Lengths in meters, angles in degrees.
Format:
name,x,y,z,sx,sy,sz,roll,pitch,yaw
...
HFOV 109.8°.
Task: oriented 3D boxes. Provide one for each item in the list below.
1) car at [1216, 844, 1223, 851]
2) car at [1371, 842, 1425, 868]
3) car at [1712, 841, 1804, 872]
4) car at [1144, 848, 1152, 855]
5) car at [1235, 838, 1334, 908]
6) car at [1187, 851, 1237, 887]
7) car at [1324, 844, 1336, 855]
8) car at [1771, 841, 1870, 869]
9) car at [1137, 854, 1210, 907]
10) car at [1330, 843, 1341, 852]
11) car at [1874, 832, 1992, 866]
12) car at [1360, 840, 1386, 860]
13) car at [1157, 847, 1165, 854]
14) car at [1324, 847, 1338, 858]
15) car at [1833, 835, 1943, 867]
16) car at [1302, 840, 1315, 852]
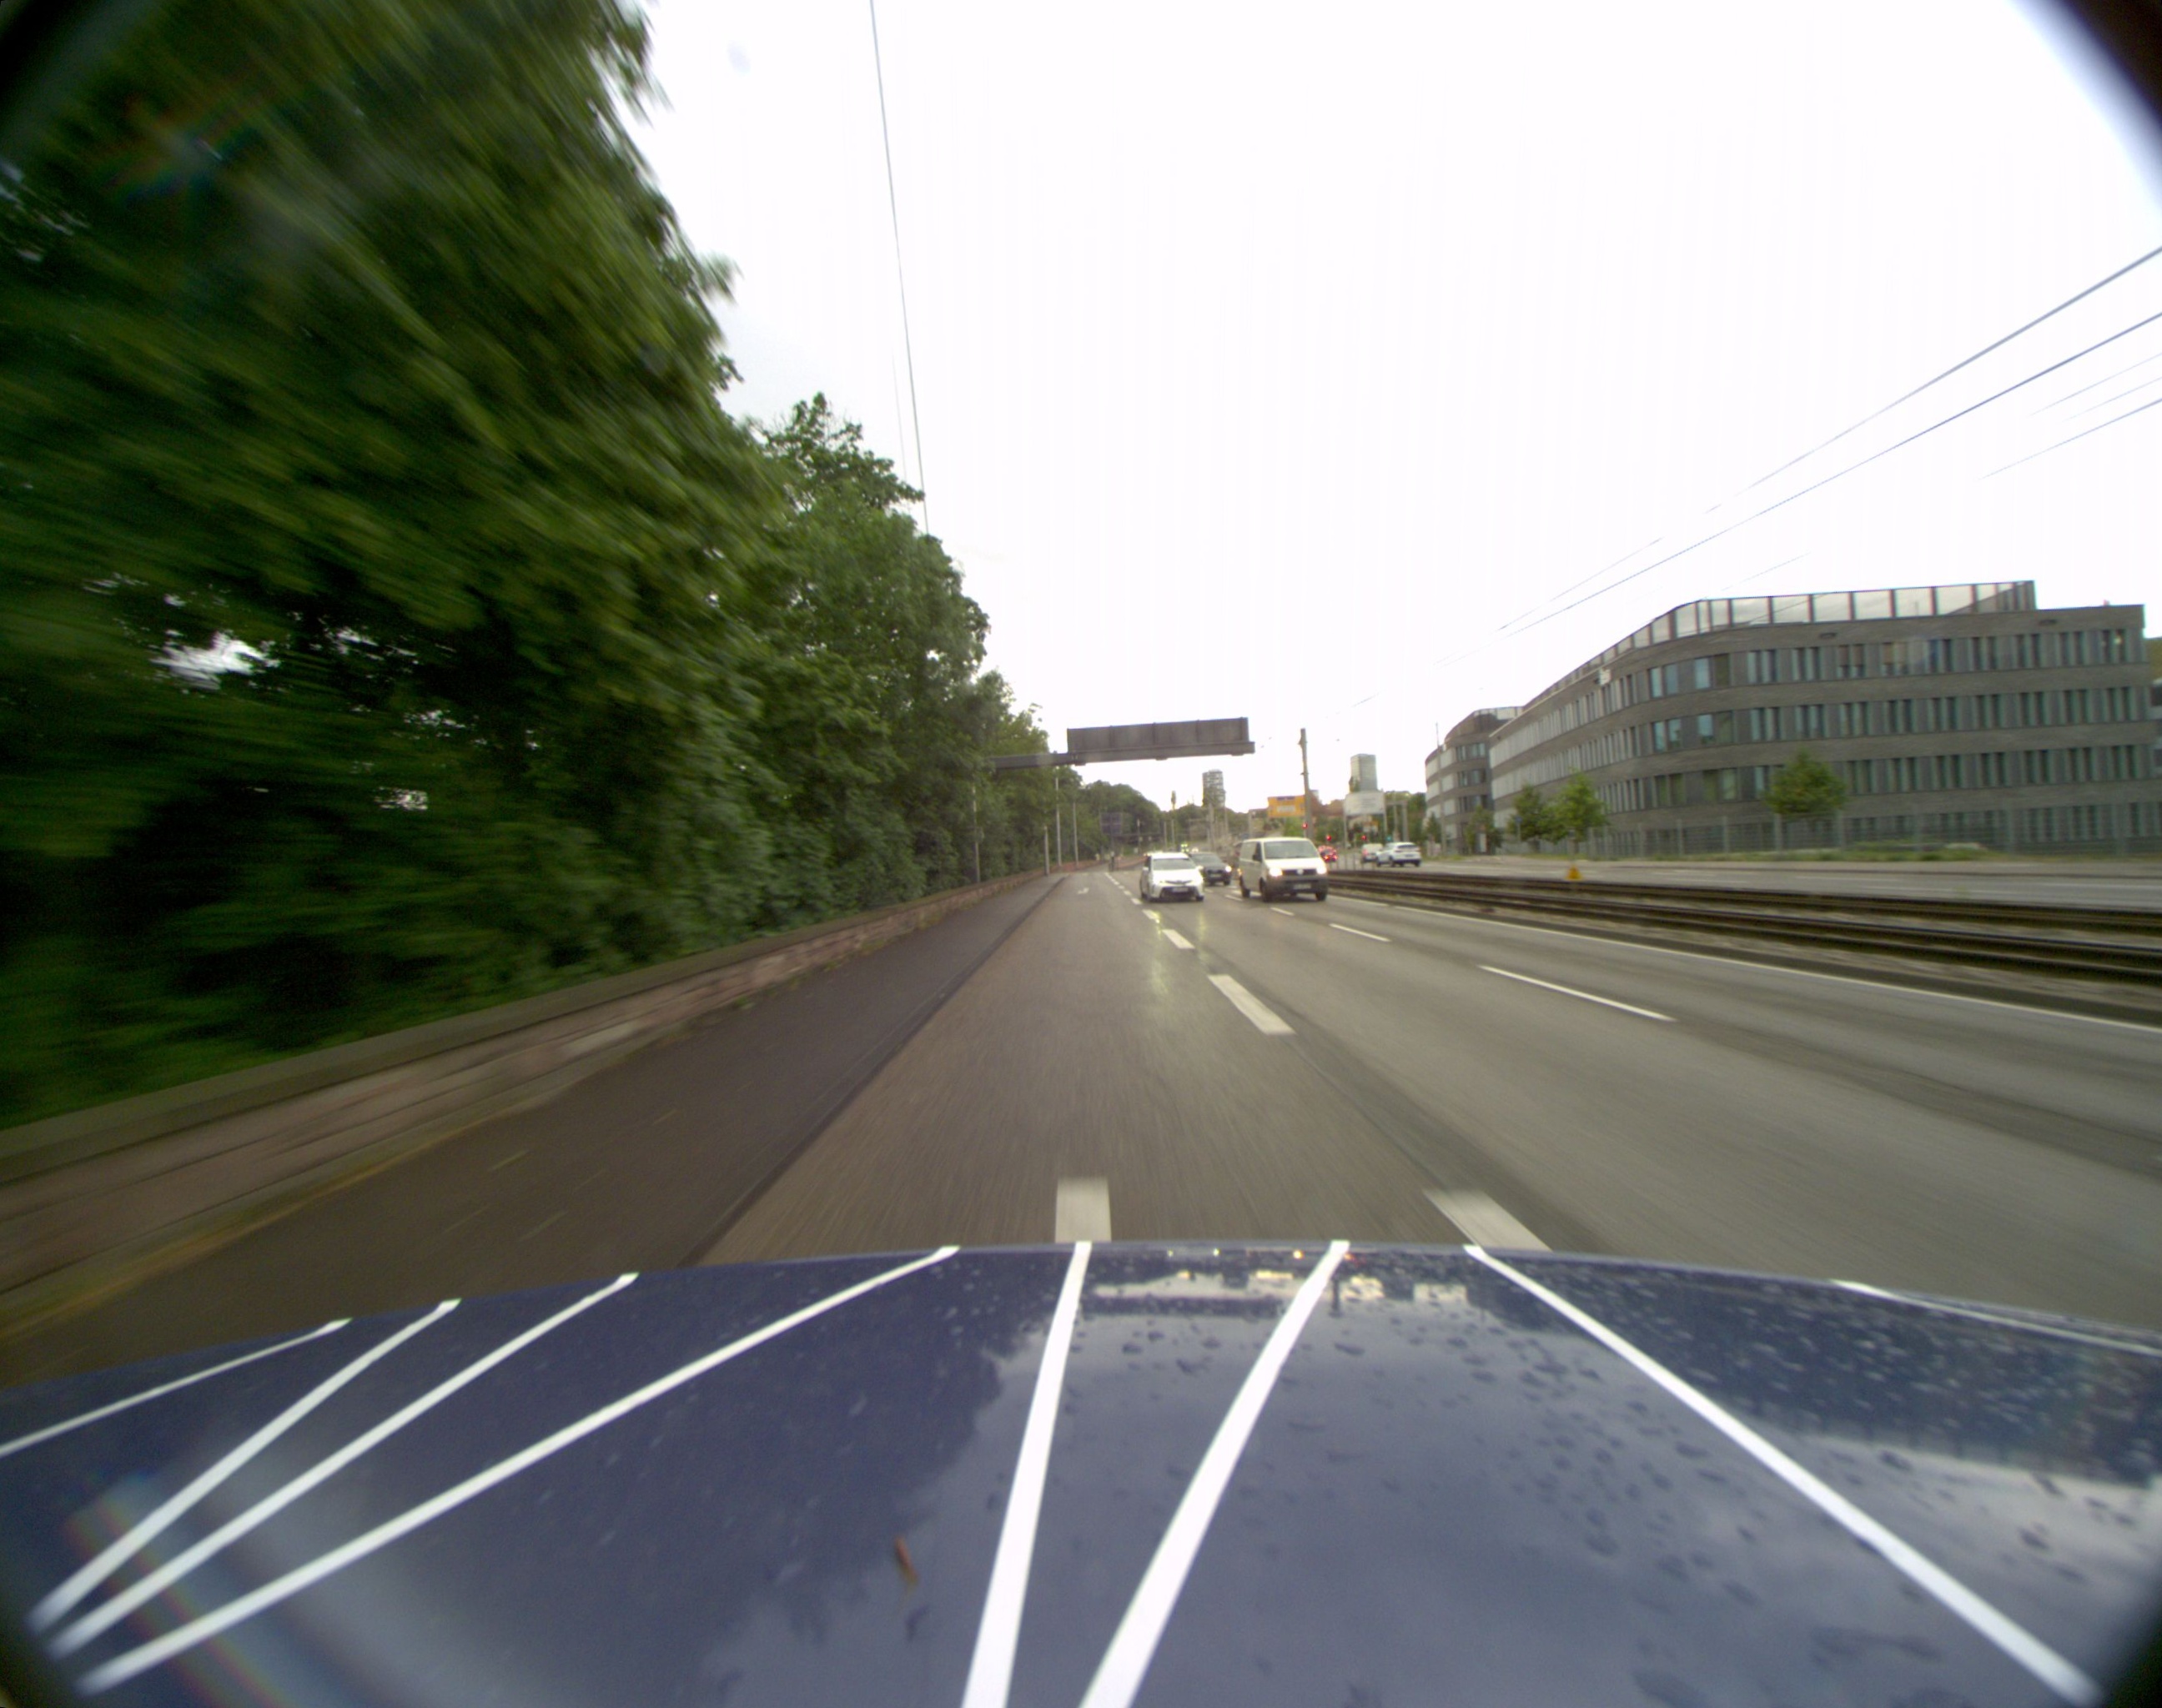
name,x,y,z,sx,sy,sz,roll,pitch,yaw
car,39.842,-1.768,218.567,1.997,1.936,4.002,-2,1,9
car,21.492,0.060,51.769,1.750,1.587,4.488,-3,0,0
car,34.575,0.111,38.935,1.545,1.428,3.568,-2,1,0
car,20.666,-0.800,234.707,1.998,2.002,4.000,-2,1,1
car,6.331,0.541,24.206,1.914,1.947,4.718,-2,0,1
car,6.149,0.685,36.082,1.708,1.564,3.896,-2,0,1
car,43.201,-0.777,131.924,1.834,1.787,4.220,-1,0,15
car,37.899,0.041,39.071,1.622,1.327,3.568,-2,1,0
car,3.069,0.827,25.990,1.982,1.564,4.319,-2,0,1
car,50.331,-1.319,150.432,1.834,1.787,4.220,-1,0,15
car,45.022,-0.284,40.291,1.745,1.644,3.999,-2,1,0
car,27.864,-0.363,72.645,1.834,1.787,4.220,-1,0,15
car,24.413,-1.015,231.312,1.998,2.002,4.000,-2,1,1
car,41.416,-0.198,125.987,1.834,1.787,4.220,-1,0,15
car,42.393,-0.161,40.046,1.745,1.535,3.788,-2,1,0
car,48.969,-1.690,163.731,2.335,2.453,7.032,-2,1,14
